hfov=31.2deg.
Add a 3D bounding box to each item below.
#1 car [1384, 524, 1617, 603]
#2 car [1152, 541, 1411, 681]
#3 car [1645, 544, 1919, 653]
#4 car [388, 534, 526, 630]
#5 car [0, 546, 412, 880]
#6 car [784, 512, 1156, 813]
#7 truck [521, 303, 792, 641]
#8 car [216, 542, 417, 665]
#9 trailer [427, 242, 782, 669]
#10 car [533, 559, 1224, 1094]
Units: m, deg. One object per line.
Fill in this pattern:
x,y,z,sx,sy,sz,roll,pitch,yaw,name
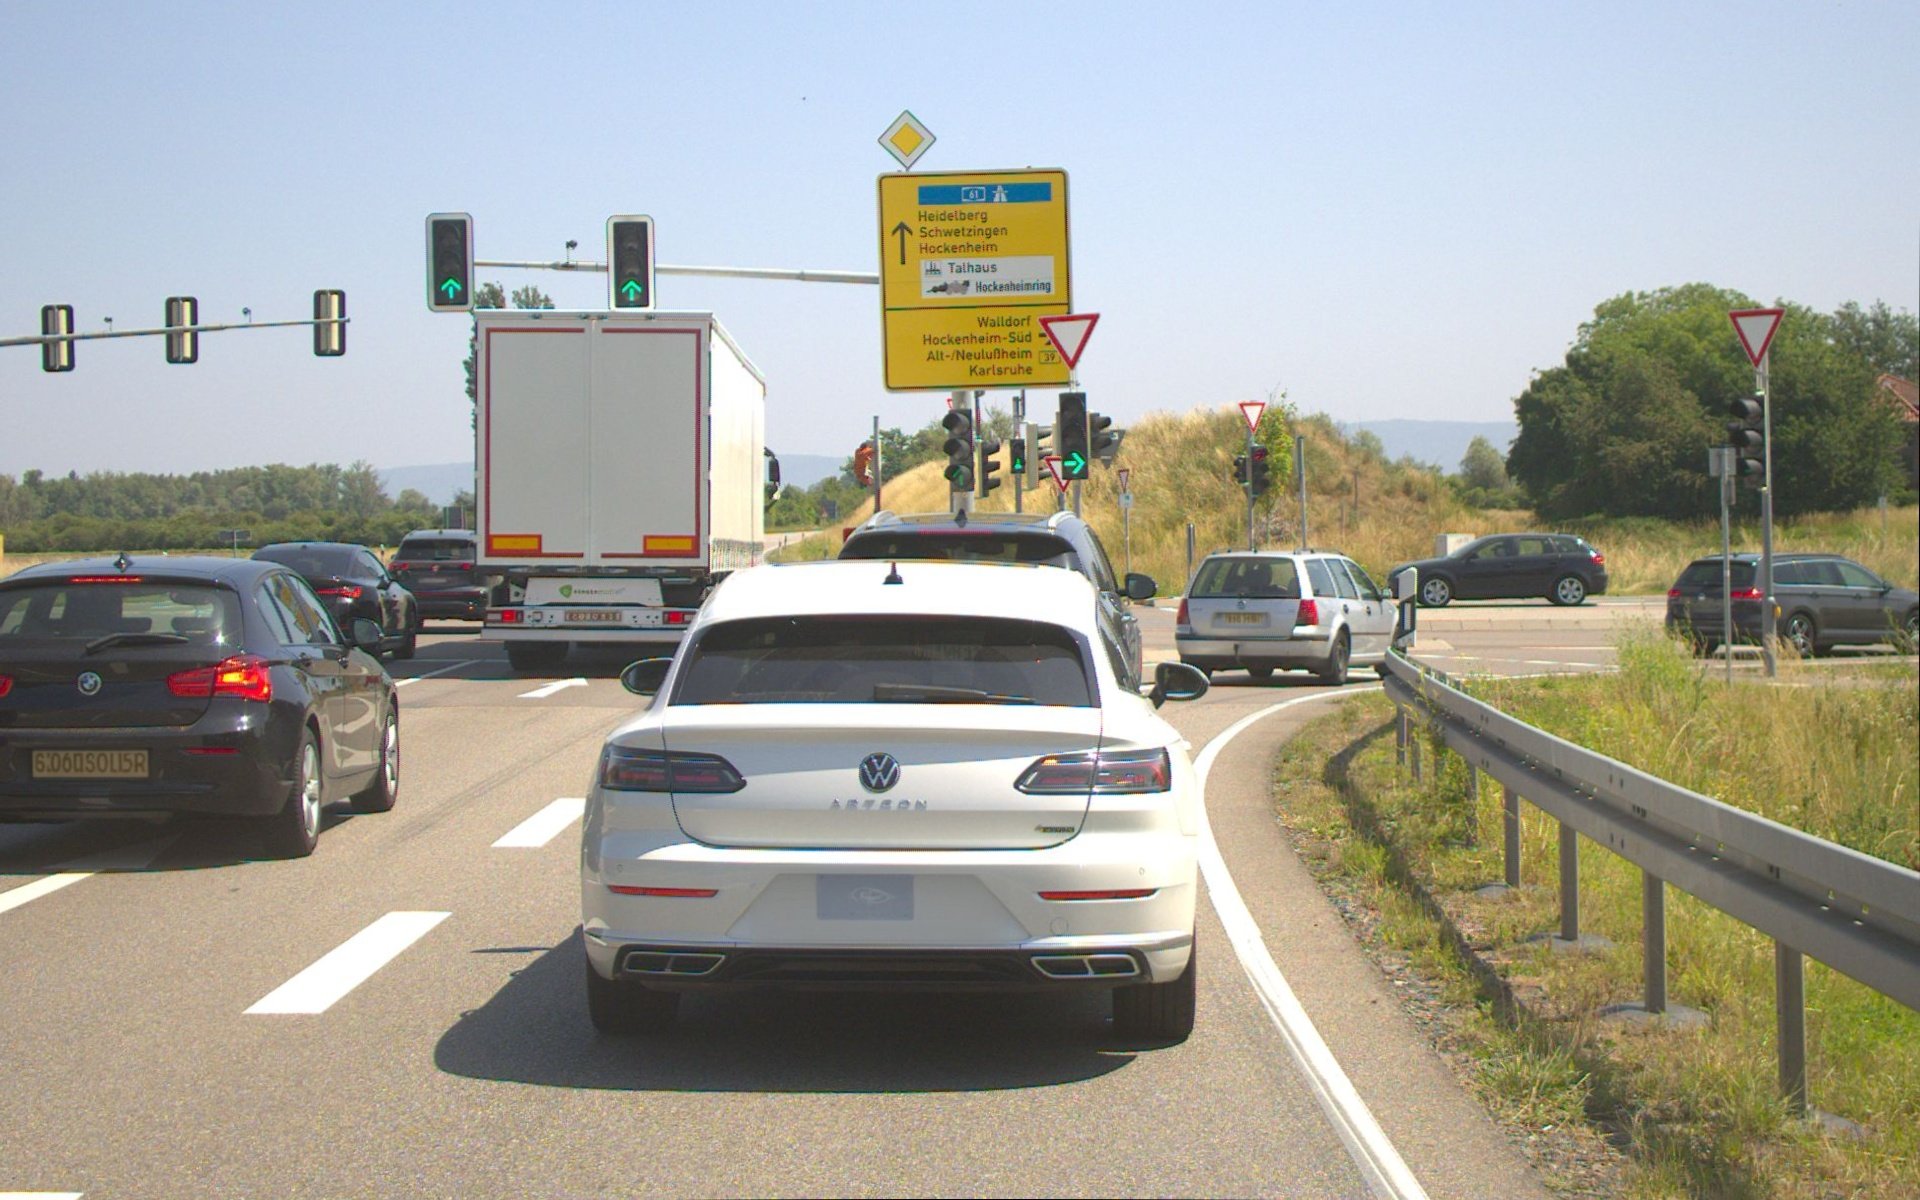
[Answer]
10.462,-0.715,66.725,4.260,1.364,1.776,-1,2,3,car
3.536,0.088,37.201,1.801,1.424,4.088,0,1,20,car
11.755,-0.045,48.388,4.402,1.471,1.805,0,1,-40,car
-8.118,-0.307,55.745,1.809,1.488,4.022,0,1,-2,car
-3.942,0.467,17.420,1.784,1.426,4.381,1,1,-2,car
0.172,0.306,20.696,1.935,1.611,4.378,0,1,4,car
-4.260,-1.784,49.612,3.381,4.527,6.373,0,1,-1,truck
-7.666,0.013,41.257,1.809,1.393,4.022,0,1,-2,car
-4.126,-1.657,43.127,3.381,4.527,12.873,0,1,-1,trailer
-0.242,0.579,11.508,1.848,1.428,4.608,0,1,-1,car
